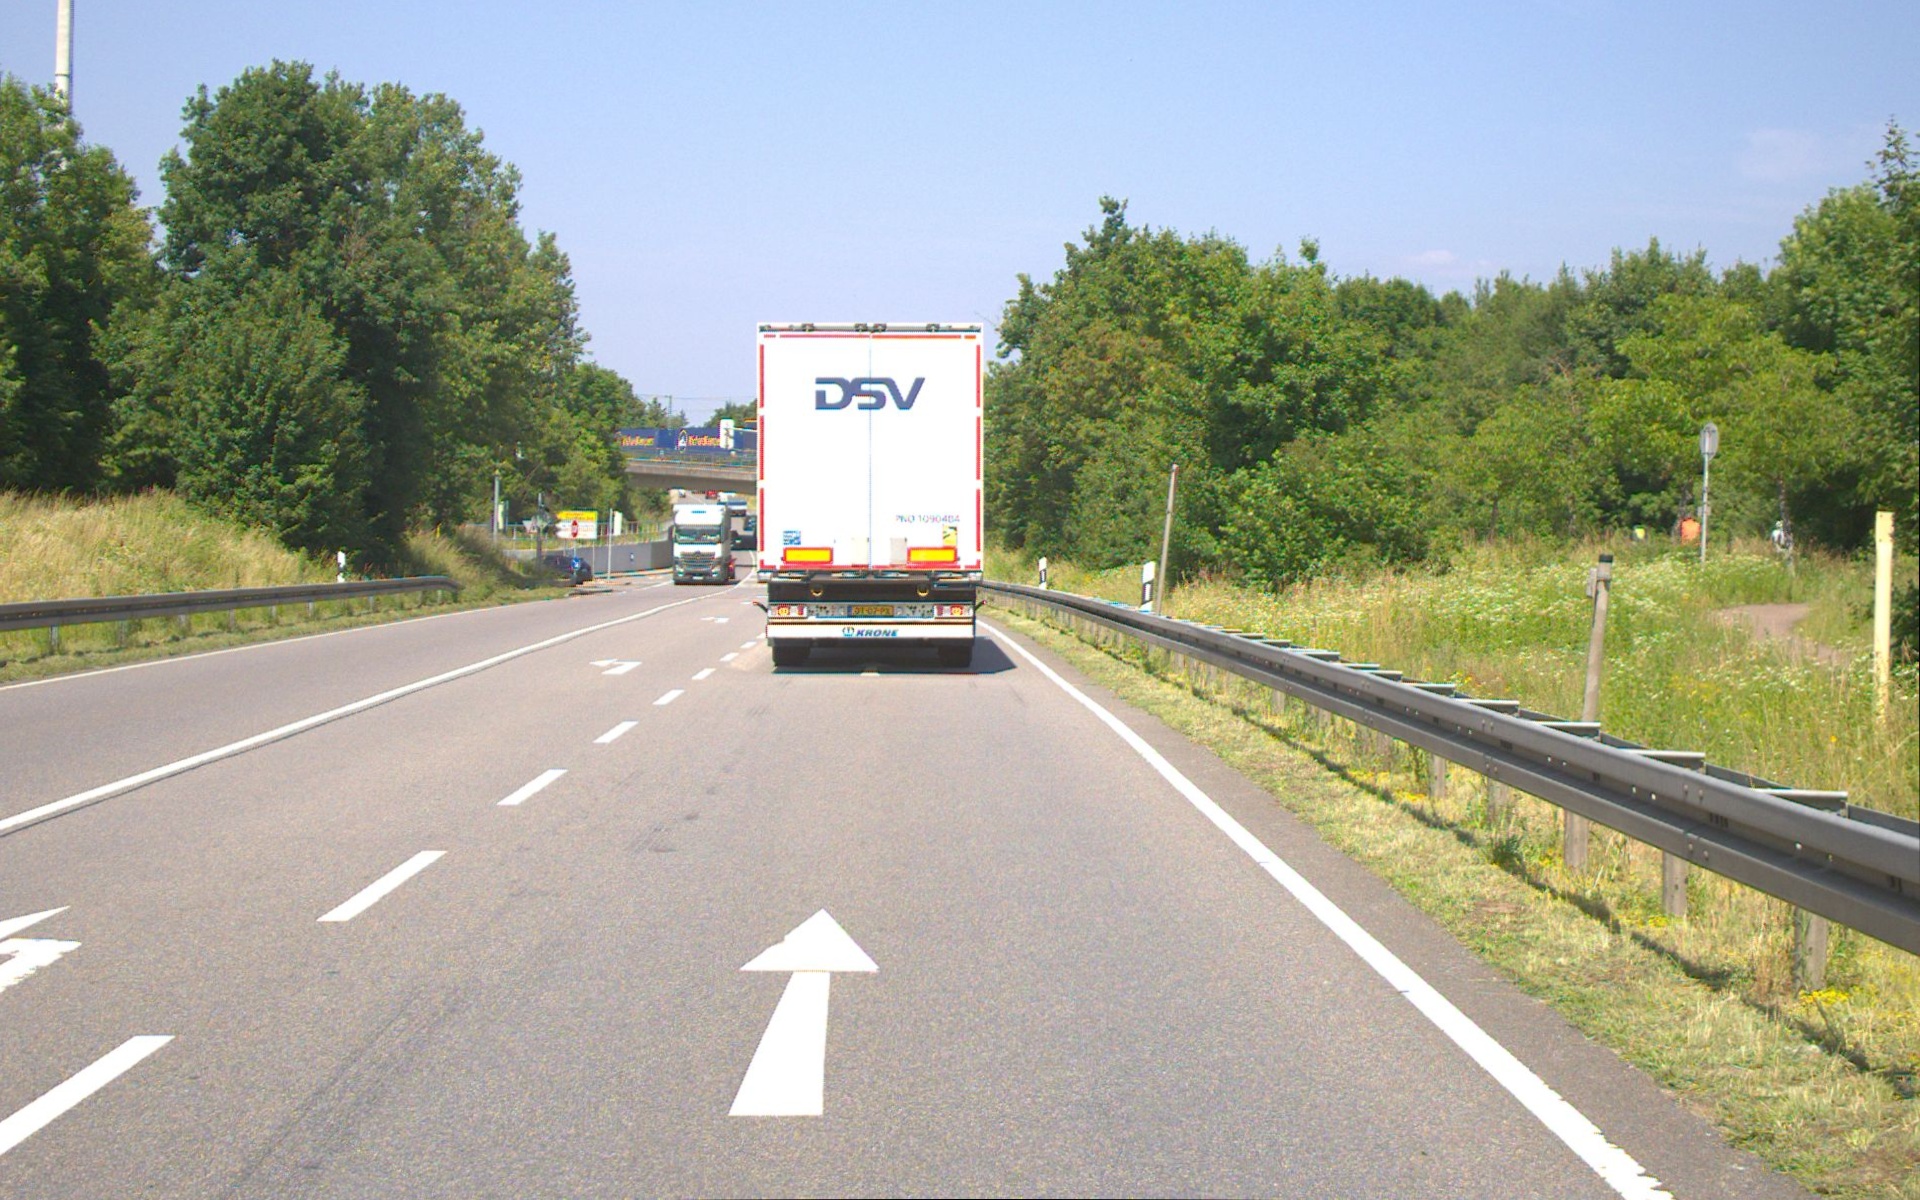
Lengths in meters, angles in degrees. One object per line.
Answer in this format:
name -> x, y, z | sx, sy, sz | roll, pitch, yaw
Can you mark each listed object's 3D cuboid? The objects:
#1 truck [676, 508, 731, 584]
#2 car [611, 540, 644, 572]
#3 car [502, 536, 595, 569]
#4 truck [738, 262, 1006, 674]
truck -> -13.159, -2.814, 177.039 | 2.353, 3.737, 12.627 | 0, 1, -2
car -> -20.075, -2.654, 207.367 | 1.801, 1.865, 4.421 | 0, 1, -8
car -> -18.870, -2.164, 157.603 | 3.863, 1.508, 1.712 | 0, 1, -25
truck -> -1.038, -1.529, 43.098 | 2.950, 4.553, 9.863 | 0, 1, -1
